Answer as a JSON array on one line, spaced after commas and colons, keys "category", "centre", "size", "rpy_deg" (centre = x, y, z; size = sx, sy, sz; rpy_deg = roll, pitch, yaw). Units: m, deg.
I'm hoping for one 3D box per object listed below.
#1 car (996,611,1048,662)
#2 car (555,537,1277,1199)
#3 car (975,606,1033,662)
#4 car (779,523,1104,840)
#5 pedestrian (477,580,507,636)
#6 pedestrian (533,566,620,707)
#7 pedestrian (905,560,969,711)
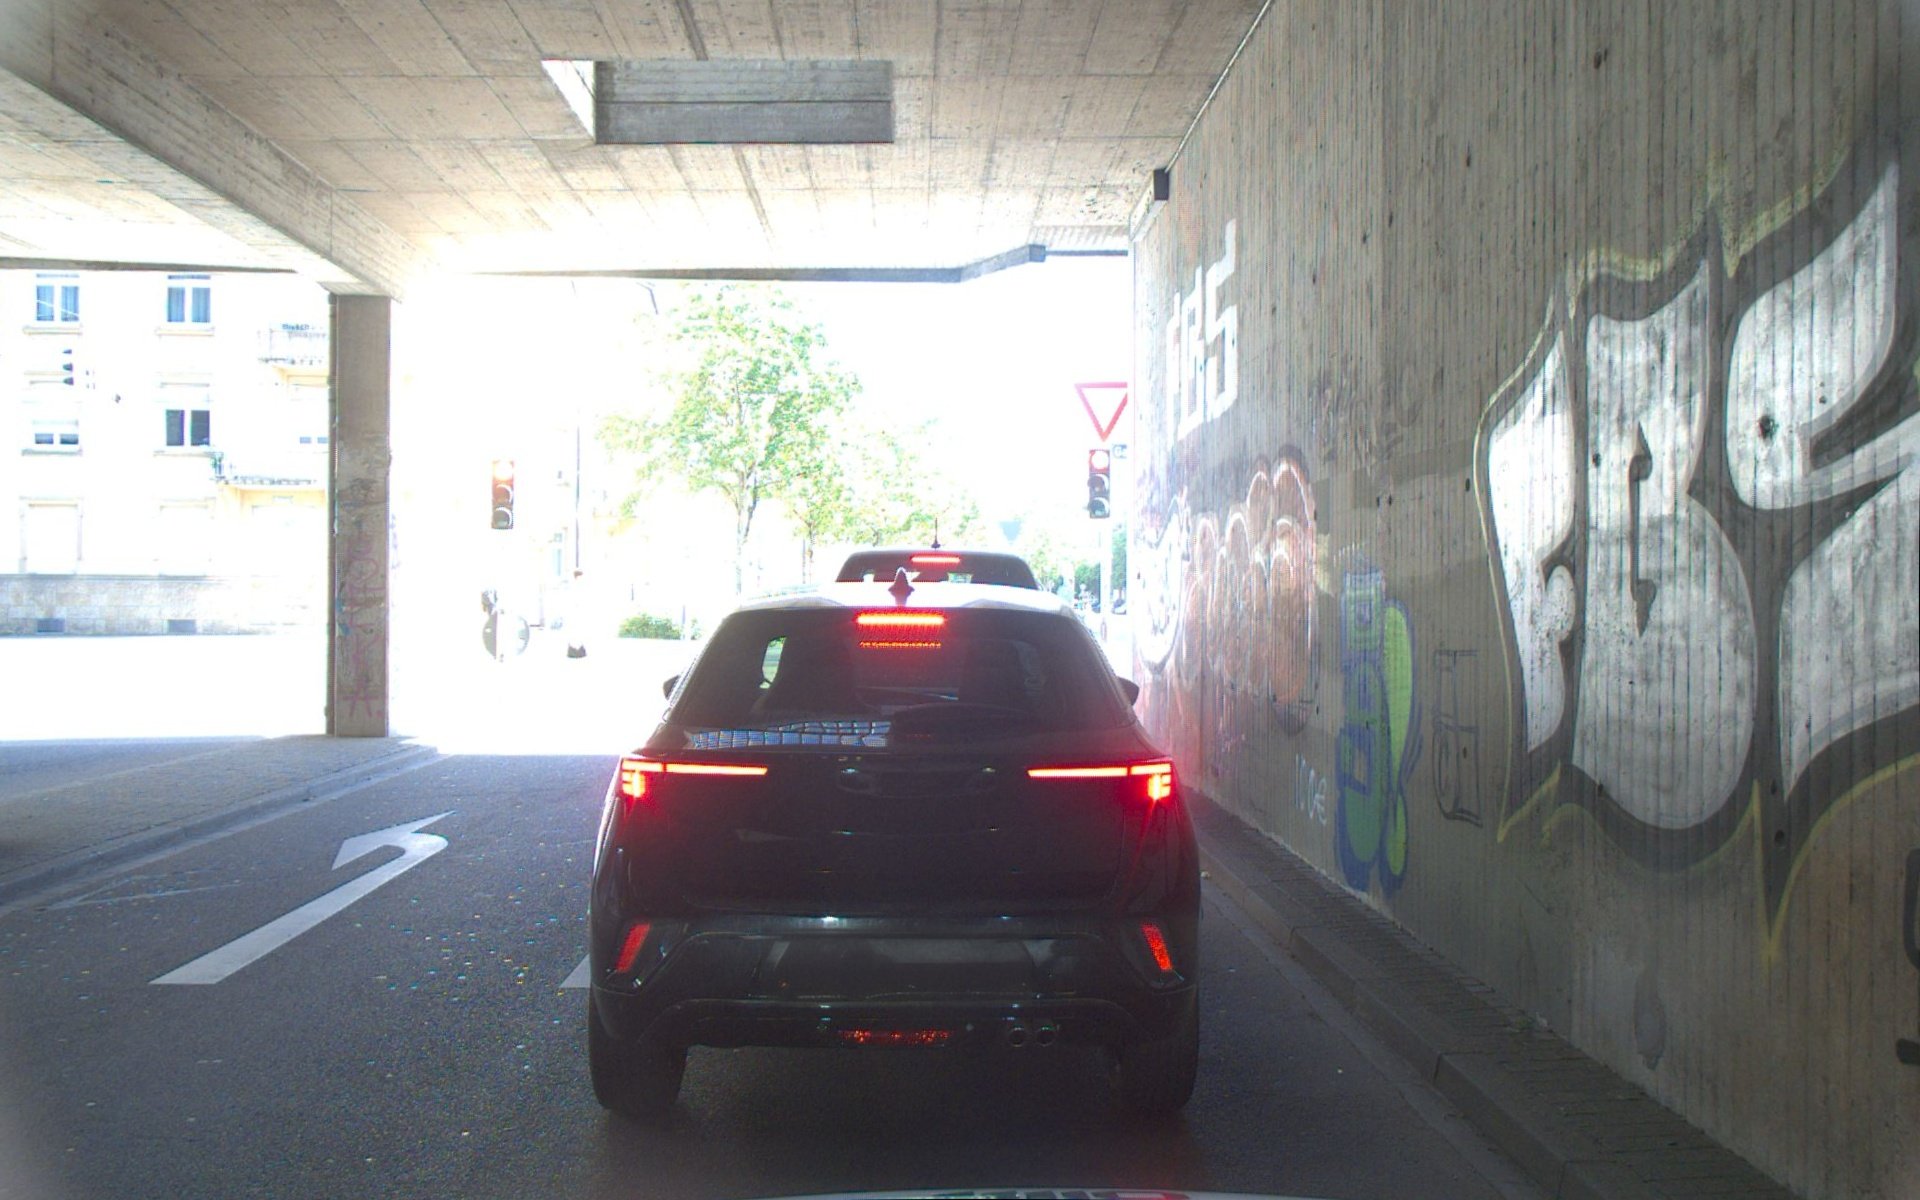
[{"category": "car", "centre": [2.590, 1.467, 68.454], "size": [1.951, 2.004, 4.166], "rpy_deg": [1, 0, 4]}, {"category": "car", "centre": [-0.134, 0.613, 6.012], "size": [1.729, 1.598, 4.000], "rpy_deg": [1, 1, -1]}, {"category": "car", "centre": [1.701, 1.232, 62.231], "size": [1.951, 2.004, 4.166], "rpy_deg": [1, 0, 4]}, {"category": "car", "centre": [-0.140, 0.477, 11.986], "size": [1.953, 1.904, 3.999], "rpy_deg": [0, 0, -1]}, {"category": "pedestrian", "centre": [-14.149, 0.241, 49.999], "size": [0.658, 1.666, 0.740], "rpy_deg": [1, 0, -1]}, {"category": "pedestrian", "centre": [-5.009, 0.469, 21.647], "size": [0.910, 1.792, 0.794], "rpy_deg": [1, 0, 1]}, {"category": "pedestrian", "centre": [-0.276, 0.417, 19.817], "size": [0.716, 1.764, 0.874], "rpy_deg": [1, 0, -1]}]
